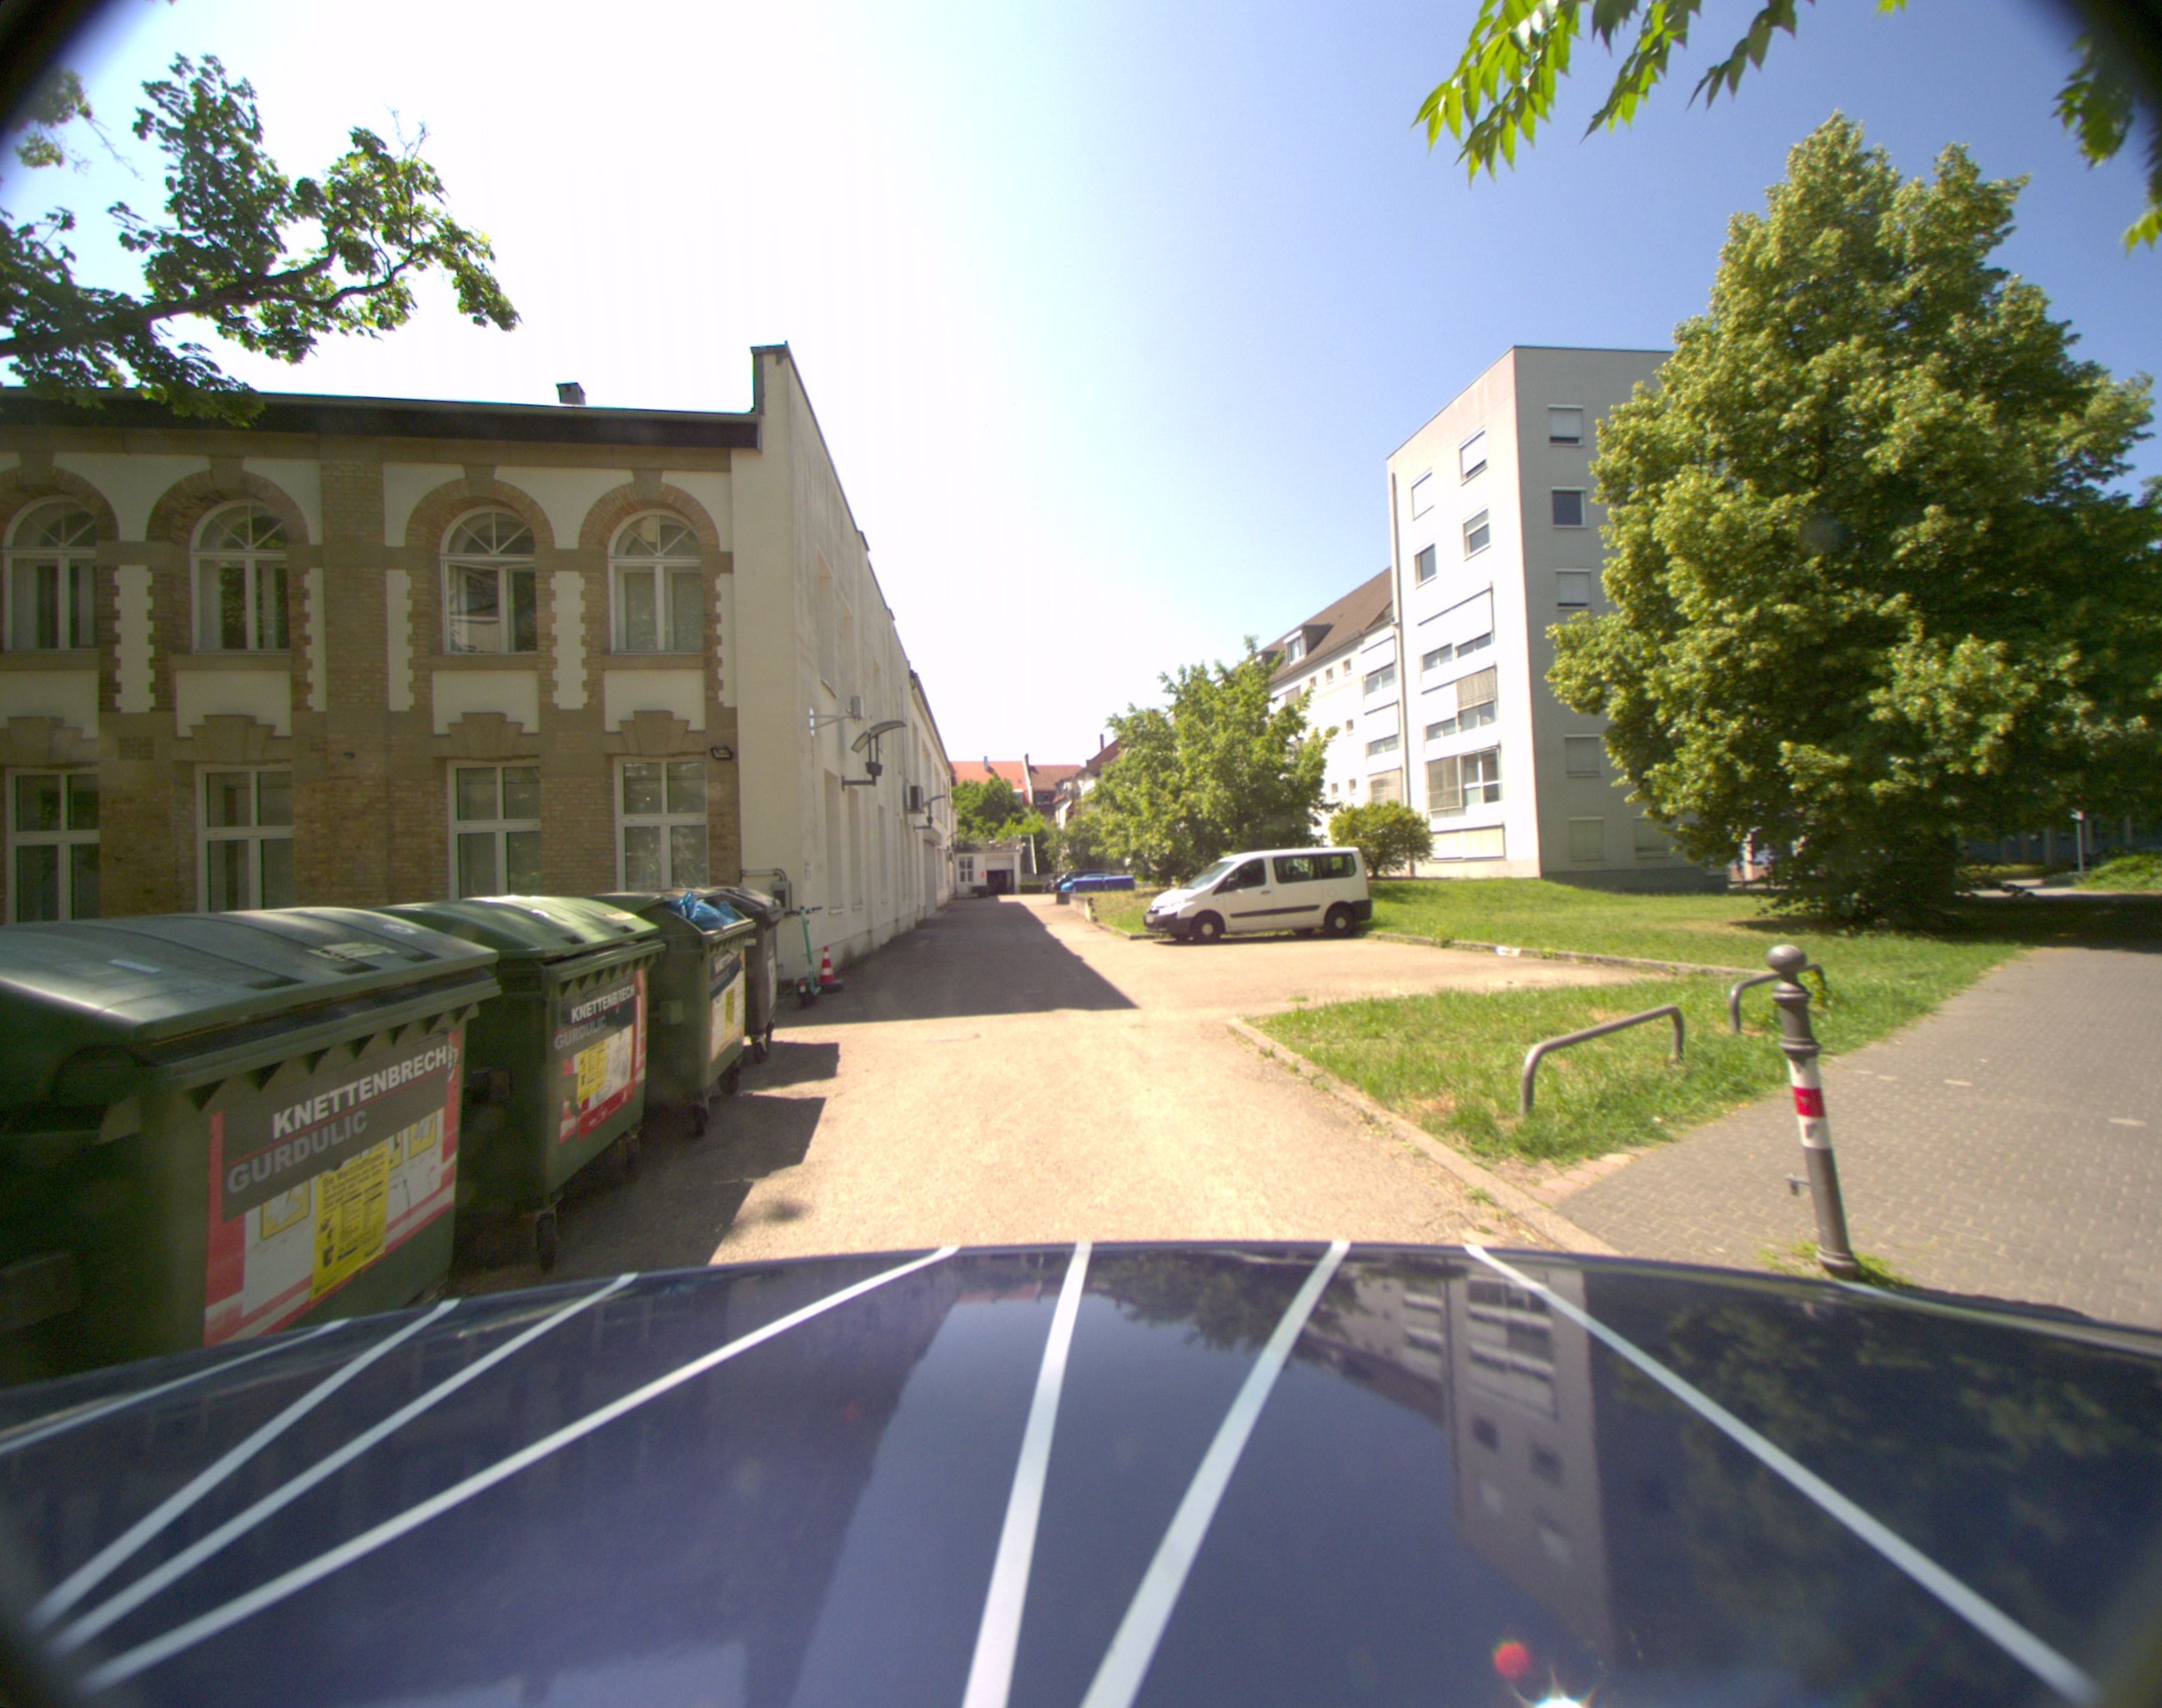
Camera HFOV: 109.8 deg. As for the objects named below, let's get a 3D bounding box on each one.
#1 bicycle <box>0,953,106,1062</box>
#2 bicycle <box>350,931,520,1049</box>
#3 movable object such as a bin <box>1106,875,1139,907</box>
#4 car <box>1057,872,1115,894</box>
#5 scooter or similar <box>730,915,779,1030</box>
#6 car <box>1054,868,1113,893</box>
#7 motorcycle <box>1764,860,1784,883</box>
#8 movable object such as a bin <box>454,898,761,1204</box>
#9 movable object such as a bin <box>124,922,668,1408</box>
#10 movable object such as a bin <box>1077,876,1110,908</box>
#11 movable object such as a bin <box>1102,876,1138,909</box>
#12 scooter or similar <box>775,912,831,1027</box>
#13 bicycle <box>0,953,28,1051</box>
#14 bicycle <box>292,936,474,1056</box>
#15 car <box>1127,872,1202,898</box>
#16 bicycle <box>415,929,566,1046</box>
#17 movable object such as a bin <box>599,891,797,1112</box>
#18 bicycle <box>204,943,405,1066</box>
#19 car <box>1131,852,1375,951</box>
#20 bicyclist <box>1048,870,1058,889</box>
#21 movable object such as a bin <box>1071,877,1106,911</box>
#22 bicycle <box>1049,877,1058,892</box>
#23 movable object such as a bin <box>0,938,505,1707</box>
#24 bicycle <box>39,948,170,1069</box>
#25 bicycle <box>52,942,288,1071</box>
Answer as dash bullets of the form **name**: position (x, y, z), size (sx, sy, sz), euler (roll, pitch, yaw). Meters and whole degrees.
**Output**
- **bicycle**: position (-11.865, 1.709, 8.155), size (0.523, 1.063, 1.835), euler (-2, -1, -5)
- **bicycle**: position (-7.343, 1.495, 8.756), size (0.504, 1.061, 1.835), euler (-2, -1, -5)
- **movable object such as a bin**: position (1.829, 1.615, 33.648), size (1.258, 1.319, 1.104), euler (-2, -1, -7)
- **car**: position (0.370, 2.215, 59.280), size (4.171, 1.544, 1.858), euler (-2, -1, -12)
- **scooter or similar**: position (-3.860, 1.351, 8.974), size (0.465, 1.167, 1.254), euler (-2, 0, -24)
- **car**: position (0.170, 2.117, 62.204), size (4.451, 1.821, 1.999), euler (-2, -1, -10)
- **motorcycle**: position (36.352, 0.901, 39.834), size (0.698, 1.161, 2.308), euler (-3, -1, 44)
- **movable object such as a bin**: position (-2.757, 1.059, 4.679), size (1.183, 1.461, 1.310), euler (-2, 0, -13)
- **movable object such as a bin**: position (-2.695, 1.107, 3.293), size (1.183, 1.461, 1.310), euler (-2, 0, -11)
- **movable object such as a bin**: position (0.531, 1.668, 33.448), size (1.258, 1.319, 1.104), euler (-2, -1, -7)
- **movable object such as a bin**: position (1.621, 1.588, 31.800), size (1.258, 1.319, 1.104), euler (-2, -1, -7)
- **scooter or similar**: position (-3.278, 1.313, 9.032), size (0.465, 1.167, 1.355), euler (-2, -1, -15)
- **bicycle**: position (-12.630, 1.712, 8.038), size (0.523, 1.093, 1.841), euler (-2, -1, -5)
- **bicycle**: position (-7.909, 1.556, 8.731), size (0.504, 1.061, 1.835), euler (-2, -1, -5)
- **car**: position (4.900, 1.807, 44.793), size (4.001, 1.427, 1.710), euler (-1, -1, -10)
- **bicycle**: position (-6.790, 1.482, 8.857), size (0.455, 1.061, 1.835), euler (-2, -1, -5)
- **movable object such as a bin**: position (-3.106, 1.116, 6.384), size (1.159, 1.496, 1.461), euler (-2, 0, -16)
- **bicycle**: position (-8.652, 1.622, 8.588), size (0.504, 1.061, 1.835), euler (-2, -1, -5)
- **car**: position (3.710, 0.991, 16.790), size (4.805, 1.899, 1.999), euler (-1, -2, -12)
- **bicyclist**: position (-2.350, 2.165, 64.605), size (0.724, 1.599, 0.978), euler (-3, -1, 1)
- **movable object such as a bin**: position (0.309, 1.643, 31.629), size (1.258, 1.319, 1.104), euler (-2, -1, -7)
- **bicycle**: position (-2.340, 2.576, 64.723), size (0.645, 1.167, 1.905), euler (-2, -1, 1)
- **movable object such as a bin**: position (-2.449, 1.034, 1.835), size (1.183, 1.461, 1.310), euler (-2, 0, -12)
- **bicycle**: position (-10.941, 1.671, 8.570), size (0.473, 1.096, 1.831), euler (-1, -2, -38)
- **bicycle**: position (-9.934, 1.604, 8.407), size (0.523, 1.096, 1.835), euler (-2, -2, -5)
